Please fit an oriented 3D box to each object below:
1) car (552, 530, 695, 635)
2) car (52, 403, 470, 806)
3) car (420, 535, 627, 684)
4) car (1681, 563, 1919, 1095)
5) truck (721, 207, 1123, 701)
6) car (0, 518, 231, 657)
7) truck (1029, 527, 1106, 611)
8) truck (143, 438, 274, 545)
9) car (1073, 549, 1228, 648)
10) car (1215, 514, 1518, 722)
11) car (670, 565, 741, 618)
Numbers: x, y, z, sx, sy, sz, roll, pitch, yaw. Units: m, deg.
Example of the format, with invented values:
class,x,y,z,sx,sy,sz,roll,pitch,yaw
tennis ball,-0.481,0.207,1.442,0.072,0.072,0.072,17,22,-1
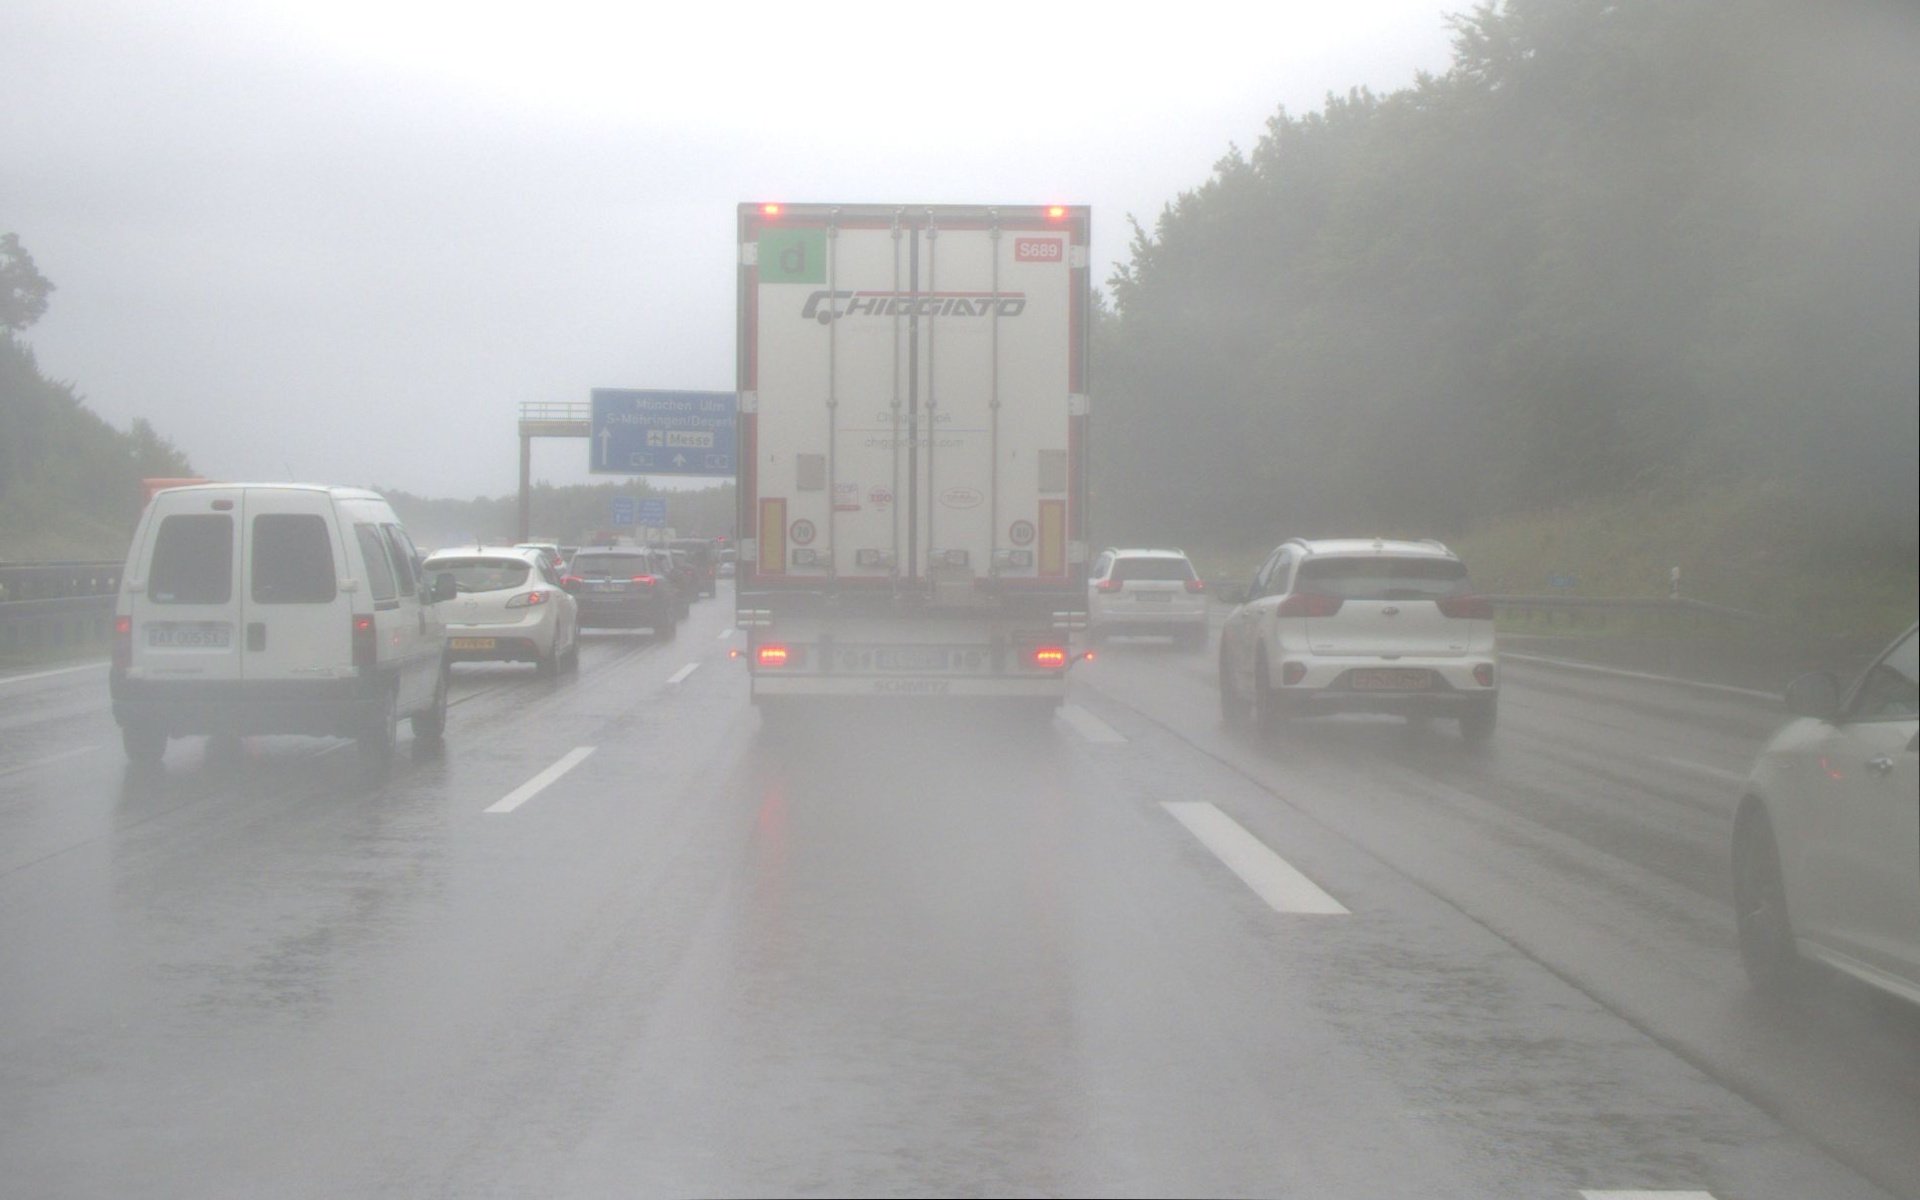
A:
class,x,y,z,sx,sy,sz,roll,pitch,yaw
car,-5.371,-0.318,55.348,1.845,1.586,4.467,1,1,0
car,-4.843,-0.021,24.589,2.212,2.564,5.016,1,1,-3
car,-4.955,0.064,39.475,1.845,1.586,4.072,1,1,0
car,3.572,0.634,10.210,1.890,1.420,4.483,1,1,0
truck,-0.376,-1.115,30.613,2.872,3.550,11.303,1,1,-1
car,-10.355,-0.194,41.584,2.090,1.499,4.755,-2,2,-1
truck,3.884,-1.163,125.449,2.589,2.931,6.456,1,1,0
truck,-28.833,-4.106,132.281,2.704,3.918,10.028,0,1,1
car,2.859,-0.056,52.553,2.007,1.389,4.568,1,1,-1
car,3.160,0.087,27.536,1.845,1.517,4.344,1,1,-1
car,-6.857,-0.256,93.060,1.845,1.326,4.467,1,1,-4
